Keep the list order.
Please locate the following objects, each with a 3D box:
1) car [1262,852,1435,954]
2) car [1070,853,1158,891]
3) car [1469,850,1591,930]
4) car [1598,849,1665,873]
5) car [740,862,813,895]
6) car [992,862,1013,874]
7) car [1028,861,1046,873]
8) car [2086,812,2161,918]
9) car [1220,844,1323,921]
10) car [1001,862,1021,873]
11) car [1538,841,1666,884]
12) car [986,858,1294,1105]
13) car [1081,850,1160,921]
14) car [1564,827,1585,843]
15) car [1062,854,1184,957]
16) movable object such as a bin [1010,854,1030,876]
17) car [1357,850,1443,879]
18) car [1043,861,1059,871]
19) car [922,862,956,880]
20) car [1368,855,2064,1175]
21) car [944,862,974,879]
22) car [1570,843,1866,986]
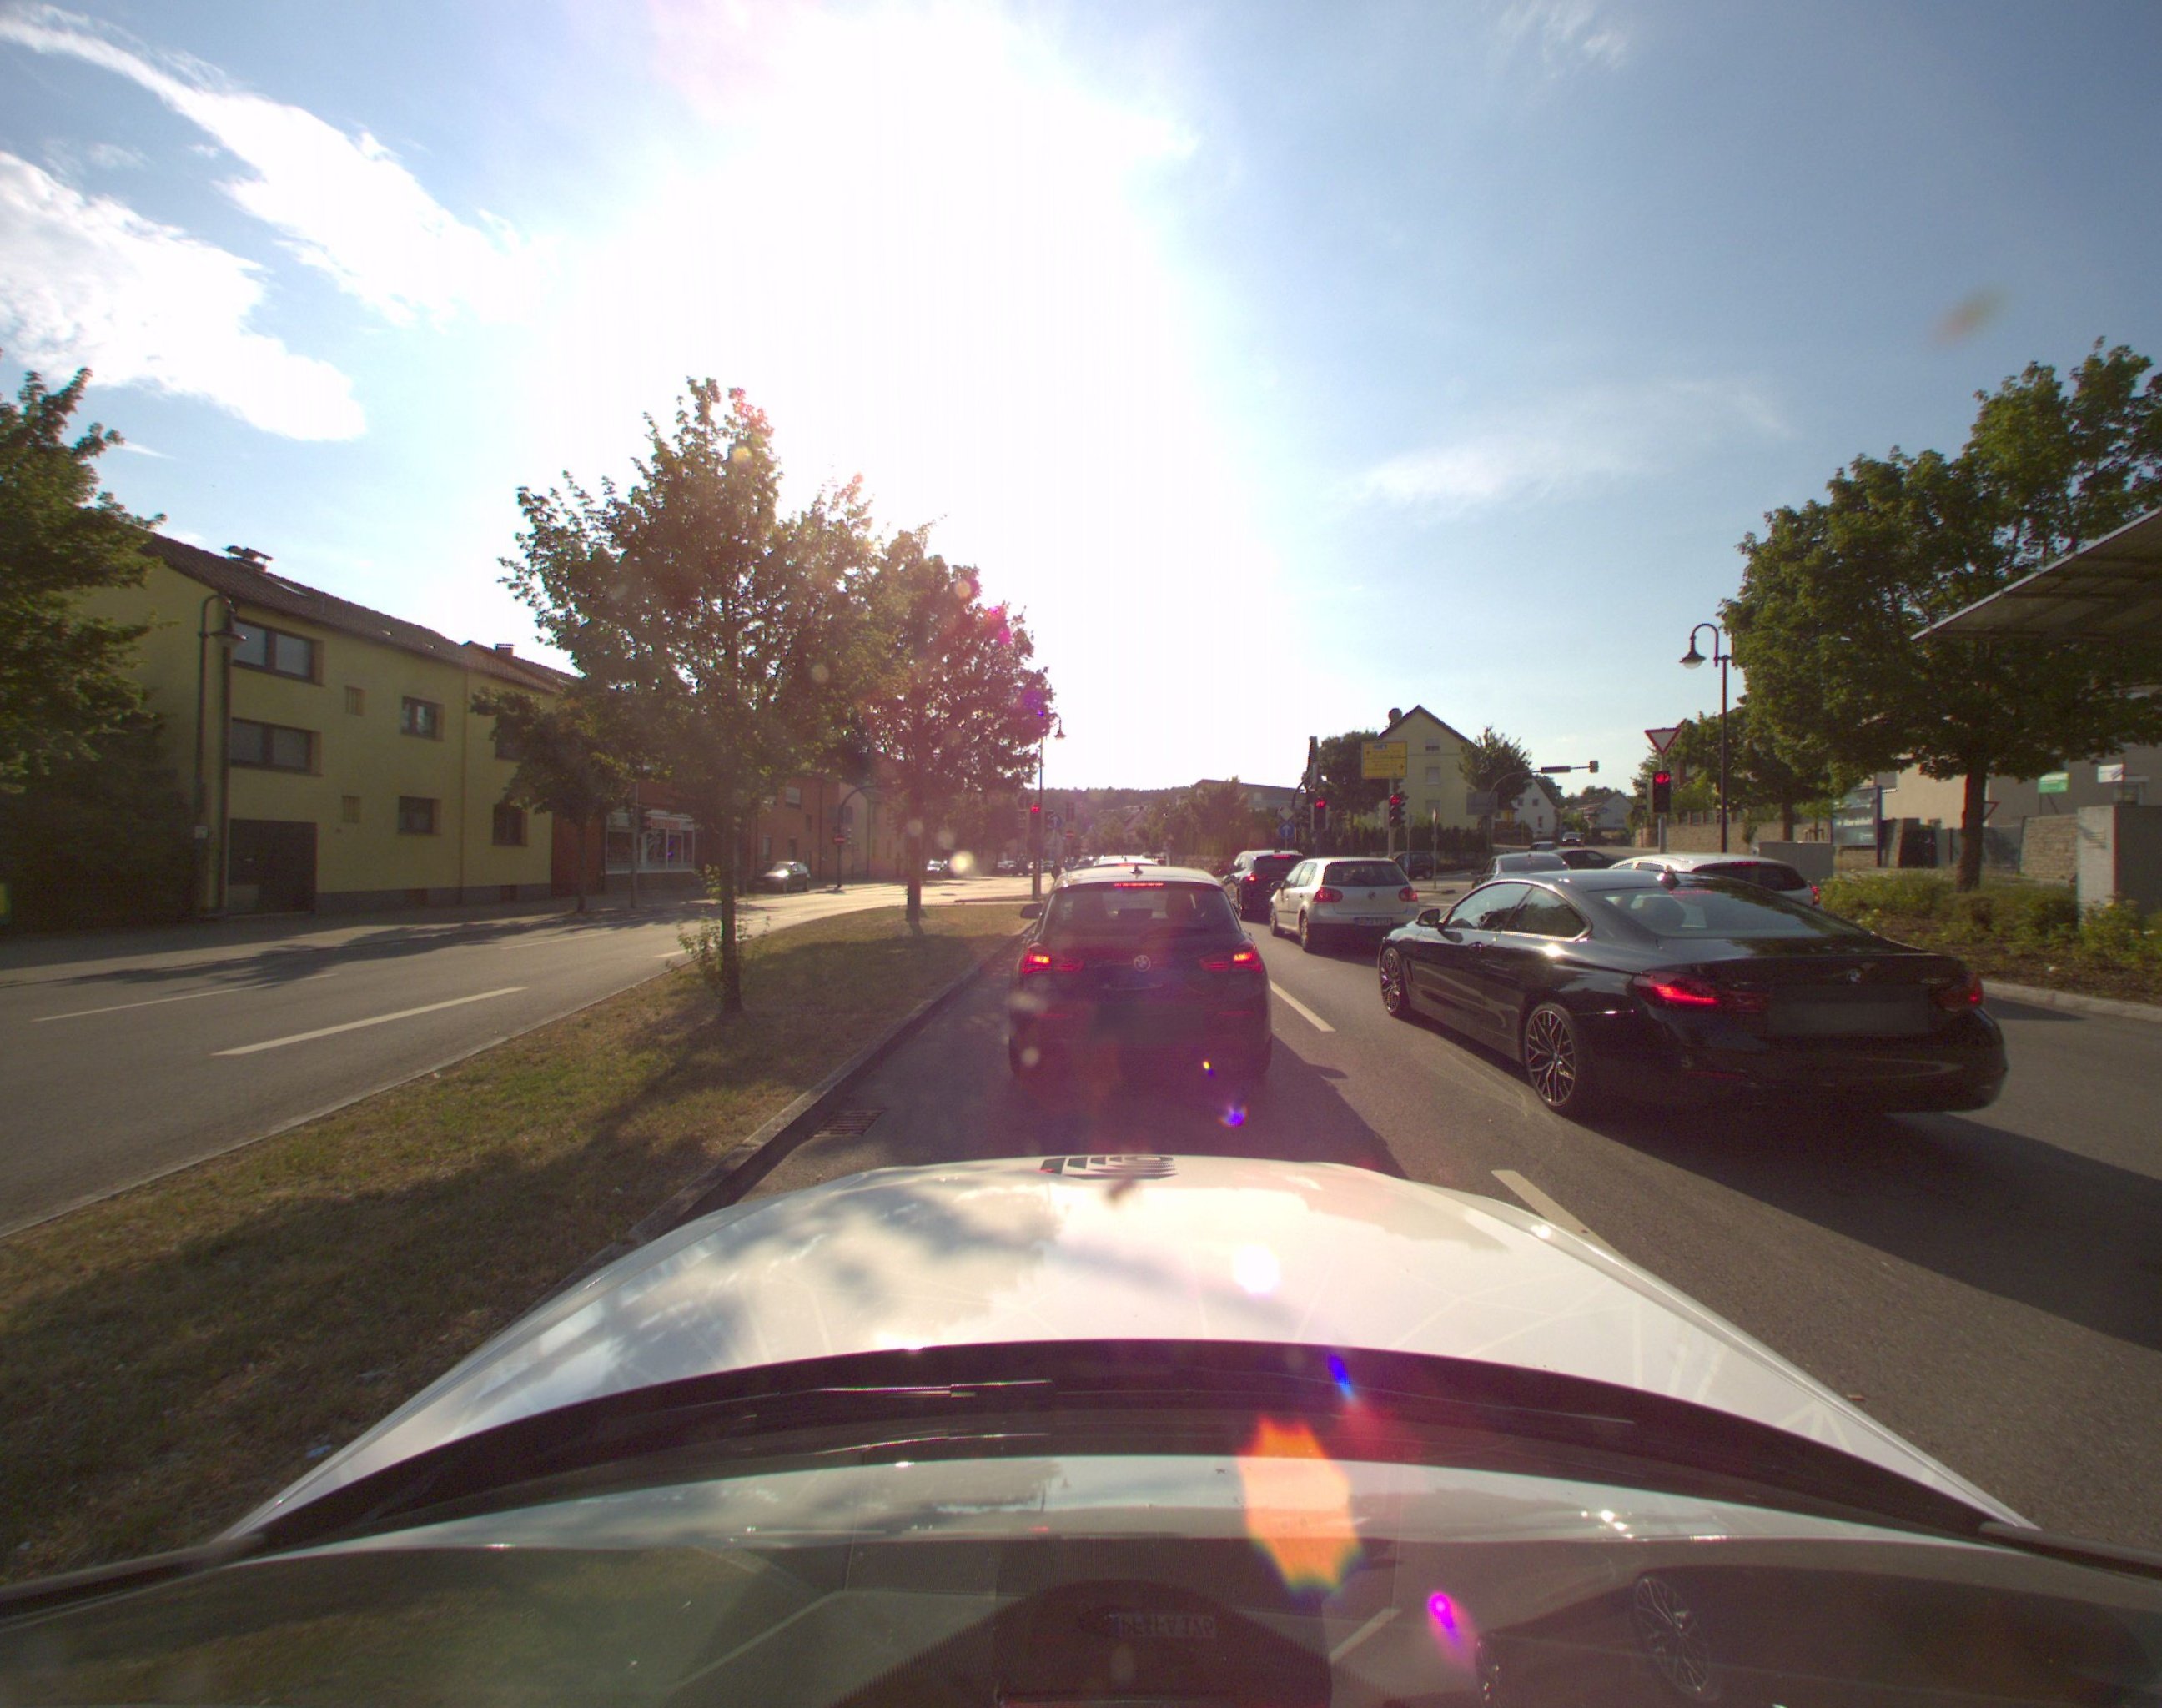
[{"bbox_3d":[4.322,0.713,13.774,1.755,1.426,3.905,-2,0,2],"label":"car"},{"bbox_3d":[1.548,0.874,39.331,1.981,1.680,4.167,-1,0,-38],"label":"car"},{"bbox_3d":[9.882,0.711,18.250,1.642,1.542,4.420,-2,0,19],"label":"car"},{"bbox_3d":[35.218,0.438,52.076,4.009,1.489,1.832,0,0,-27],"label":"car"},{"bbox_3d":[-14.139,1.108,38.043,1.730,1.301,4.002,4,0,2],"label":"car"},{"bbox_3d":[-9.348,1.646,97.580,1.729,1.301,3.804,4,0,5],"label":"car"},{"bbox_3d":[-5.640,1.677,104.970,1.729,1.301,3.804,4,0,5],"label":"car"},{"bbox_3d":[18.494,0.156,12.397,3.793,1.632,1.784,0,0,10],"label":"car"},{"bbox_3d":[4.571,0.646,20.099,1.755,1.656,3.905,-2,0,2],"label":"car"},{"bbox_3d":[-8.841,1.685,103.269,1.729,1.301,3.804,4,0,5],"label":"car"},{"bbox_3d":[21.887,0.351,34.303,4.193,1.680,1.968,-2,0,-5],"label":"car"},{"bbox_3d":[0.442,0.769,6.979,1.781,1.397,4.283,-2,0,2],"label":"car"},{"bbox_3d":[1.021,0.737,21.162,1.781,1.594,4.283,-2,0,2],"label":"car"},{"bbox_3d":[54.001,-2.017,89.173,1.824,1.641,4.458,-1,0,30],"label":"car"},{"bbox_3d":[0.732,0.776,14.388,1.781,1.494,4.283,-2,0,2],"label":"car"},{"bbox_3d":[-6.919,1.216,92.947,1.729,2.442,4.452,-1,0,3],"label":"movable object such as a bin"},{"bbox_3d":[17.346,0.568,44.371,3.974,1.489,1.848,0,0,-1],"label":"car"},{"bbox_3d":[-4.397,1.784,119.200,1.729,1.301,3.804,4,0,5],"label":"car"},{"bbox_3d":[-11.745,1.419,67.605,1.728,1.301,4.006,4,0,6],"label":"car"},{"bbox_3d":[3.620,0.736,5.834,1.755,1.397,4.283,-2,0,2],"label":"car"},{"bbox_3d":[-11.048,1.465,73.868,1.729,1.301,4.005,4,0,5],"label":"car"},{"bbox_3d":[7.967,0.672,10.597,1.608,1.542,3.326,-2,0,9],"label":"car"}]
